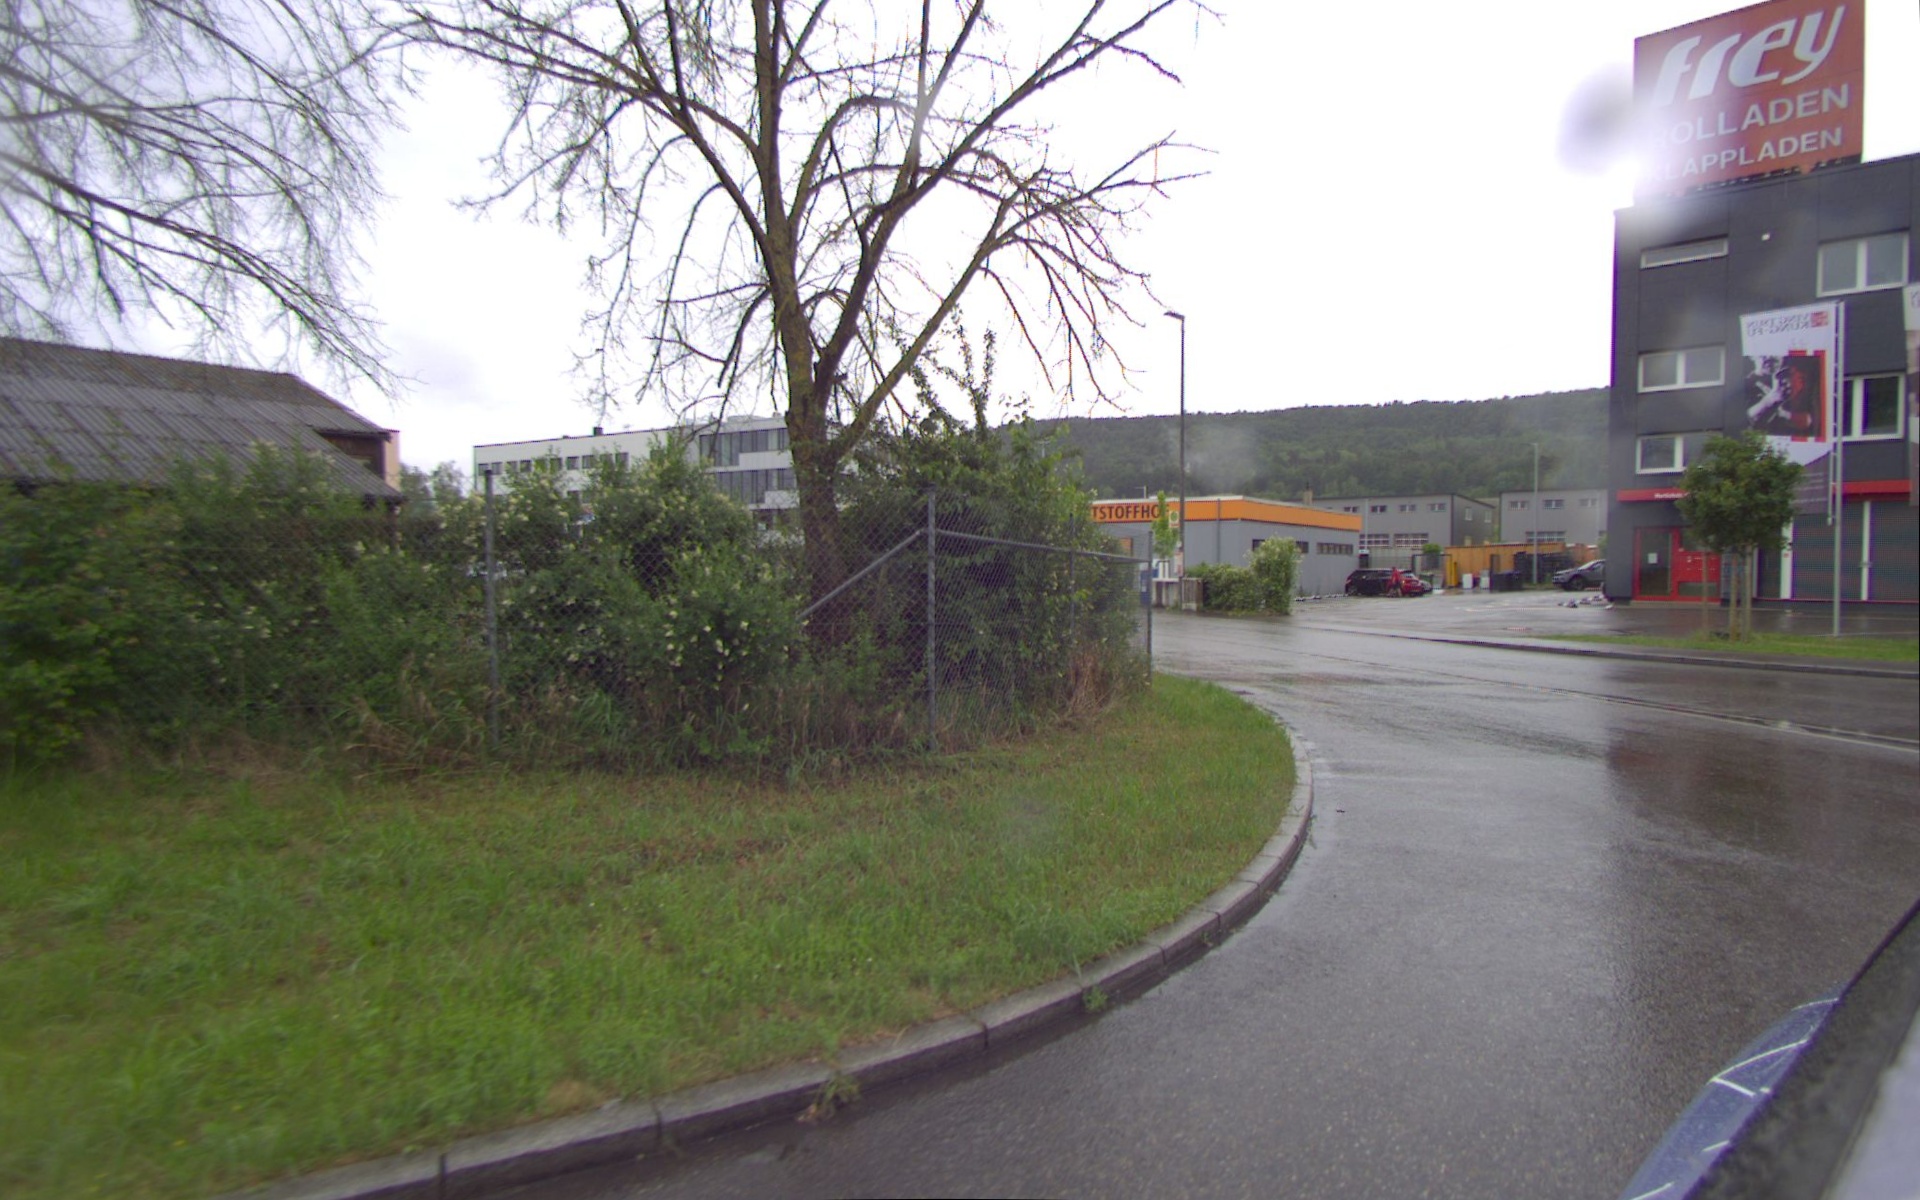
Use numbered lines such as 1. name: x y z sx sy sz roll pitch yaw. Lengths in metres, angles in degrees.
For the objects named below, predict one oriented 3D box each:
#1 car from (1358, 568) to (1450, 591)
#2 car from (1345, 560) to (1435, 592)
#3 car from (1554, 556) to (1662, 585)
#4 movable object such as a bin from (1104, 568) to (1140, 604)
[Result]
1. car: 24.112 -1.129 55.041 1.897 1.175 4.194 -1 2 -38
2. car: 22.478 -1.287 53.044 1.886 1.594 4.004 -1 2 -31
3. car: 32.250 -1.495 50.470 4.144 1.404 1.987 1 2 20
4. movable object such as a bin: 6.241 -0.555 39.054 0.960 1.339 1.005 0 1 -22
